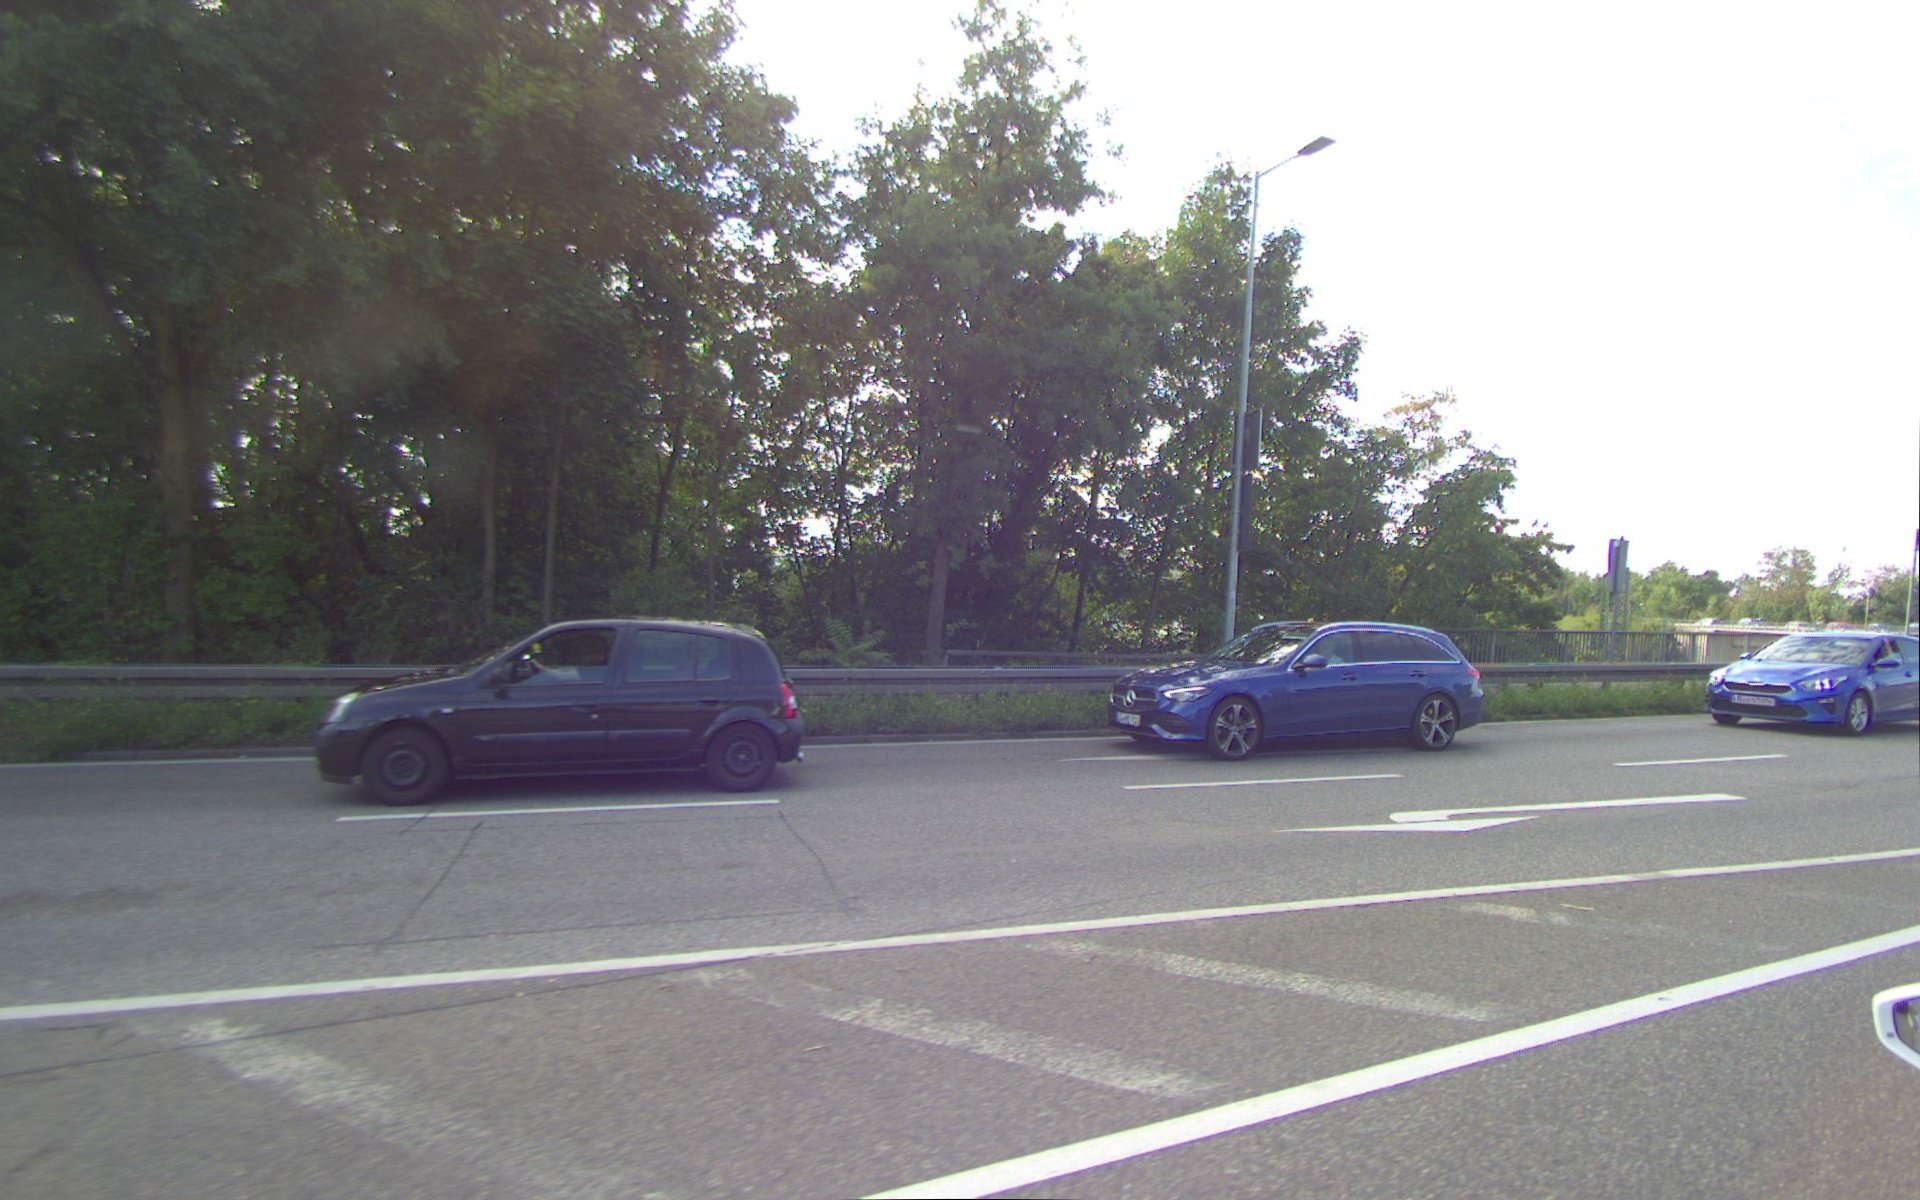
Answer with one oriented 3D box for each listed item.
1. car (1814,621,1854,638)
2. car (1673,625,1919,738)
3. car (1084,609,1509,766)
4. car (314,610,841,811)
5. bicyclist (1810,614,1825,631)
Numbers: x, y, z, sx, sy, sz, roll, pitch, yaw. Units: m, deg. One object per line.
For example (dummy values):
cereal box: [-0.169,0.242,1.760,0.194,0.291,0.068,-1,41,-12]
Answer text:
car: [95.222,3.214,109.509,1.743,1.769,3.838,1,0,16]
car: [13.155,1.160,15.273,4.301,1.467,1.887,1,0,-25]
car: [3.954,0.925,11.766,4.696,1.540,1.810,1,0,-23]
car: [-3.006,0.814,8.393,3.716,1.383,1.622,1,0,-20]
bicyclist: [89.913,2.360,105.373,0.753,1.683,1.120,2,0,16]
